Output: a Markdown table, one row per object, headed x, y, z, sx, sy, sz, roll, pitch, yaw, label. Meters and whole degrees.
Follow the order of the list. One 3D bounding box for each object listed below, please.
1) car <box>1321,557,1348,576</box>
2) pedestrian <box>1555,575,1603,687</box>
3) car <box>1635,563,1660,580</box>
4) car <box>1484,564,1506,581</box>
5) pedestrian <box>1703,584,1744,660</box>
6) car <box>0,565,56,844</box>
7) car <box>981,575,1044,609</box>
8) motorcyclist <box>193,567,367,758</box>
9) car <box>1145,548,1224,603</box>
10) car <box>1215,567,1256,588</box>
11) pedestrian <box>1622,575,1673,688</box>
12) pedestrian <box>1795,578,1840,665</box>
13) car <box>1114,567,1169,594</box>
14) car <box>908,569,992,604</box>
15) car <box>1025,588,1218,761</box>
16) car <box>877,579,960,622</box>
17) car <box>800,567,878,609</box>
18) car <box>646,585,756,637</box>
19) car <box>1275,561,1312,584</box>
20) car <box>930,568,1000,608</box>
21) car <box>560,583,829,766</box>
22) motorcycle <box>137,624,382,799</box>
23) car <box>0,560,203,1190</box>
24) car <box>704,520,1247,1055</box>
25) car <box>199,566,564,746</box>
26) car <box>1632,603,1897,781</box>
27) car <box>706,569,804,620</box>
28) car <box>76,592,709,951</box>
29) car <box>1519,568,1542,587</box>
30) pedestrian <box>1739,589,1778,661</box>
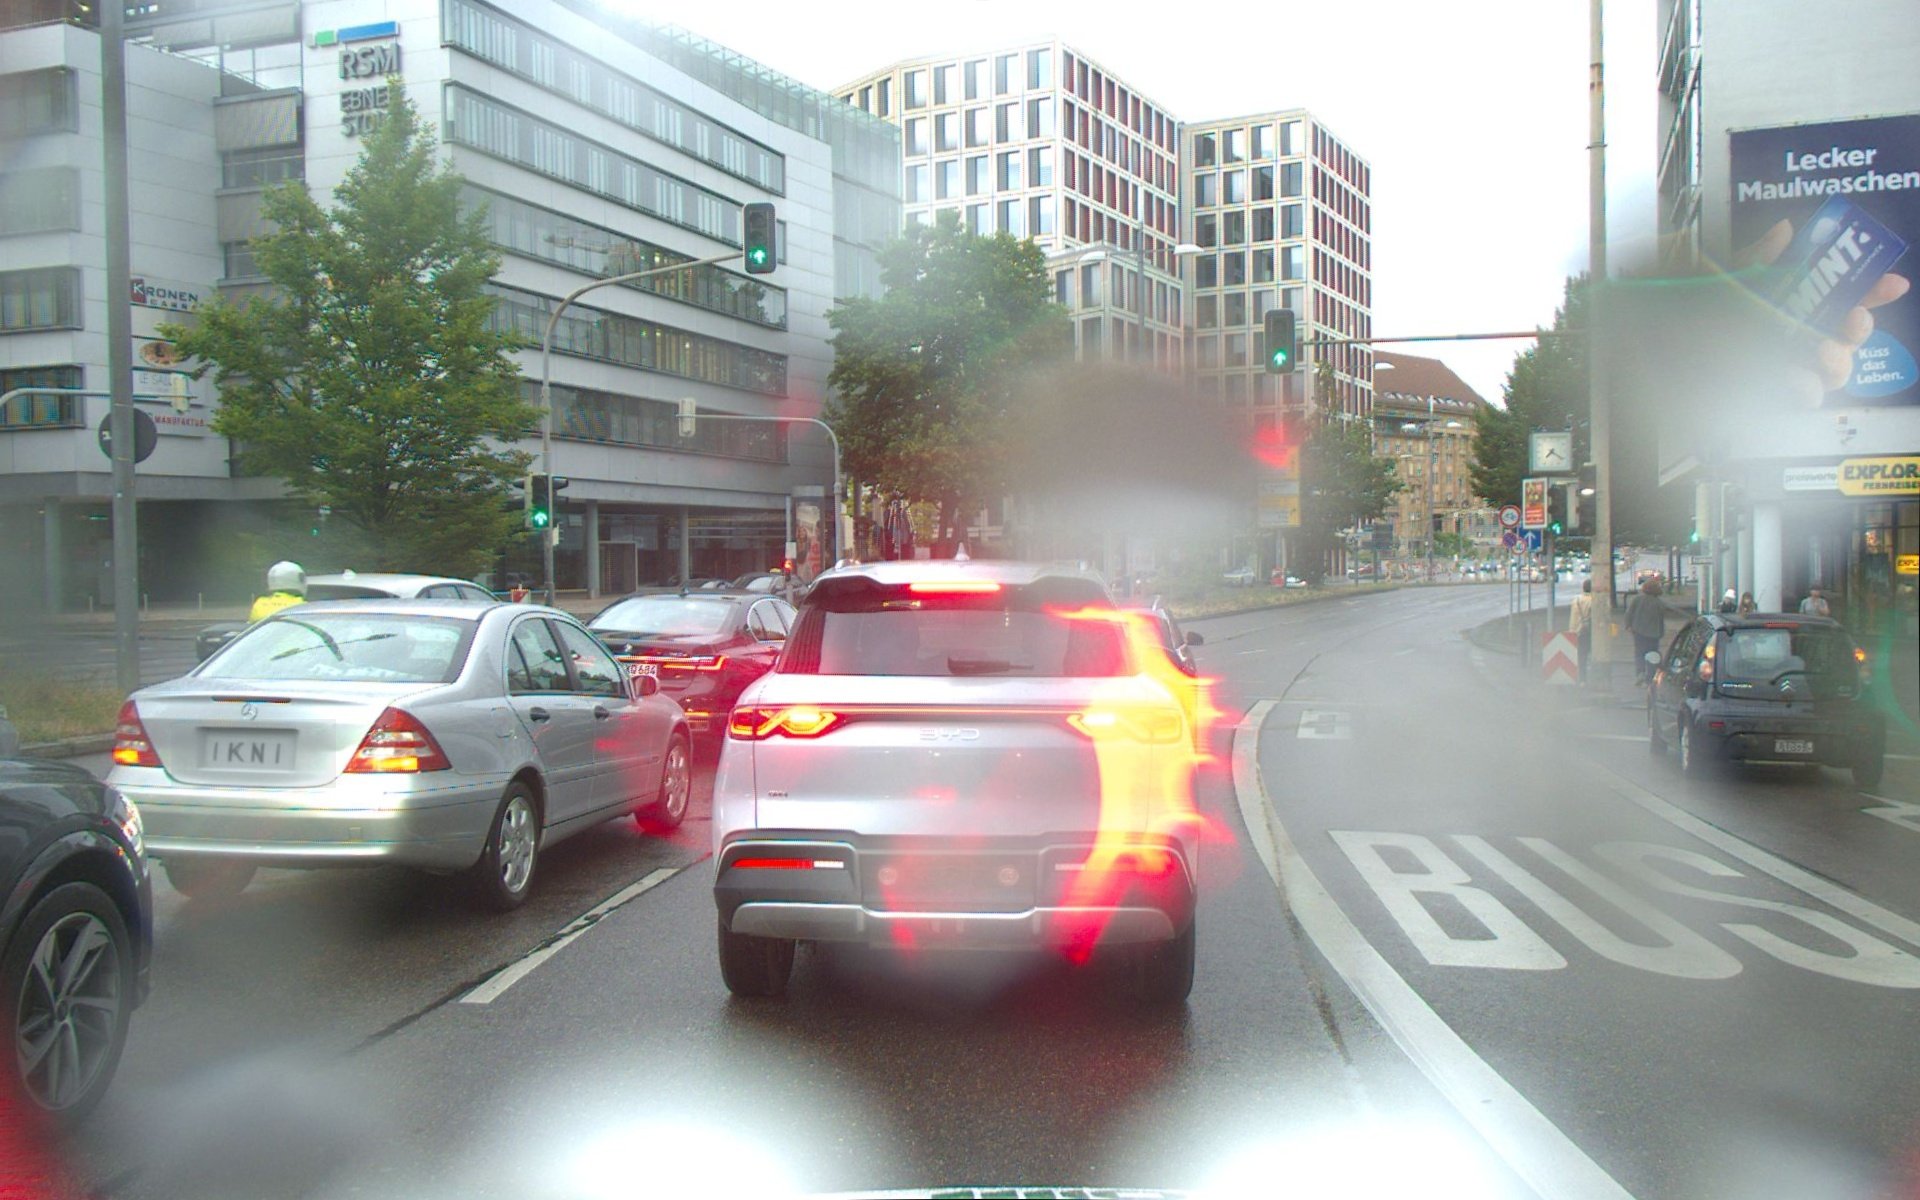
| x | y | z | sx | sy | sz | roll | pitch | yaw | label |
| --- | --- | --- | --- | --- | --- | --- | --- | --- | --- |
| 37.158 | -3.292 | 164.101 | 1.577 | 1.771 | 3.437 | 1 | 0 | 31 | car |
| 10.261 | 0.498 | 27.427 | 0.733 | 1.829 | 0.817 | 0 | 1 | 20 | pedestrian |
| 62.913 | -2.609 | 151.324 | 1.662 | 1.512 | 3.993 | 1 | 0 | 29 | car |
| 65.793 | -3.405 | 203.360 | 1.954 | 2.049 | 3.996 | 1 | 0 | 26 | car |
| 17.107 | 0.478 | 37.054 | 0.659 | 1.684 | 0.649 | 1 | 0 | 43 | pedestrian |
| -6.319 | 0.587 | 7.388 | 1.826 | 1.560 | 4.778 | 1 | 1 | 1 | car |
| 2.619 | -0.413 | 81.465 | 1.598 | 1.586 | 4.592 | 0 | 1 | 23 | car |
| -5.248 | 0.463 | 12.828 | 0.753 | 1.404 | 1.119 | 1 | 0 | 8 | motorcyclist |
| 8.914 | -0.939 | 65.273 | 1.953 | 2.049 | 4.848 | 1 | 0 | 22 | car |
| 20.527 | -1.656 | 123.075 | 1.955 | 1.514 | 3.996 | 0 | 1 | 27 | car |
| 11.362 | 0.500 | 27.370 | 0.733 | 1.829 | 0.817 | 0 | 1 | 20 | pedestrian |
| 18.121 | 0.443 | 34.963 | 0.659 | 1.825 | 0.768 | 1 | 0 | 43 | pedestrian |
| 10.669 | -1.172 | 97.233 | 1.955 | 1.514 | 3.996 | 0 | 1 | 27 | car |
| -0.402 | -0.644 | 75.246 | 1.777 | 1.536 | 5.193 | 0 | 1 | 24 | car |
| 1.750 | 0.671 | 16.791 | 1.657 | 1.512 | 4.003 | 1 | 0 | 10 | car |
| -1.398 | 0.033 | 57.507 | 1.655 | 1.409 | 3.870 | 1 | 0 | 18 | car |
| -4.773 | -0.446 | 65.681 | 1.604 | 1.598 | 3.718 | 1 | 0 | 21 | car |
| -8.692 | 0.332 | 55.851 | 1.952 | 1.638 | 4.001 | 2 | 1 | 20 | car |
| 21.475 | -1.753 | 106.499 | 1.598 | 1.462 | 3.907 | 0 | 1 | 23 | car |
| 0.251 | -0.487 | 69.250 | 1.610 | 1.608 | 4.086 | 1 | 0 | 21 | car |
| -2.399 | 0.632 | 15.913 | 1.537 | 1.512 | 4.003 | 1 | 0 | 6 | car |
| -5.327 | 0.803 | 12.744 | 0.783 | 1.205 | 2.030 | 1 | 0 | 8 | motorcycle |
| -3.148 | 0.674 | 2.974 | 1.614 | 1.548 | 4.271 | 1 | 1 | 0 | car |
| 0.095 | 0.614 | 7.371 | 1.739 | 1.708 | 4.000 | 1 | 0 | 1 | car |
| -5.462 | 0.486 | 16.211 | 1.670 | 1.512 | 4.003 | 1 | 0 | 9 | car |
| 7.515 | 0.776 | 15.800 | 1.537 | 1.454 | 4.003 | 1 | 0 | 15 | car |
| -6.526 | -0.197 | 53.085 | 1.609 | 1.563 | 4.155 | 1 | 0 | 16 | car |
| -2.651 | 0.705 | 8.820 | 1.537 | 1.432 | 4.112 | 1 | 0 | 7 | car |
| 52.740 | -2.062 | 152.896 | 1.849 | 1.671 | 4.000 | 1 | 1 | 22 | car |
| 17.696 | 0.540 | 36.655 | 0.615 | 1.570 | 0.649 | 1 | 0 | 43 | pedestrian |
